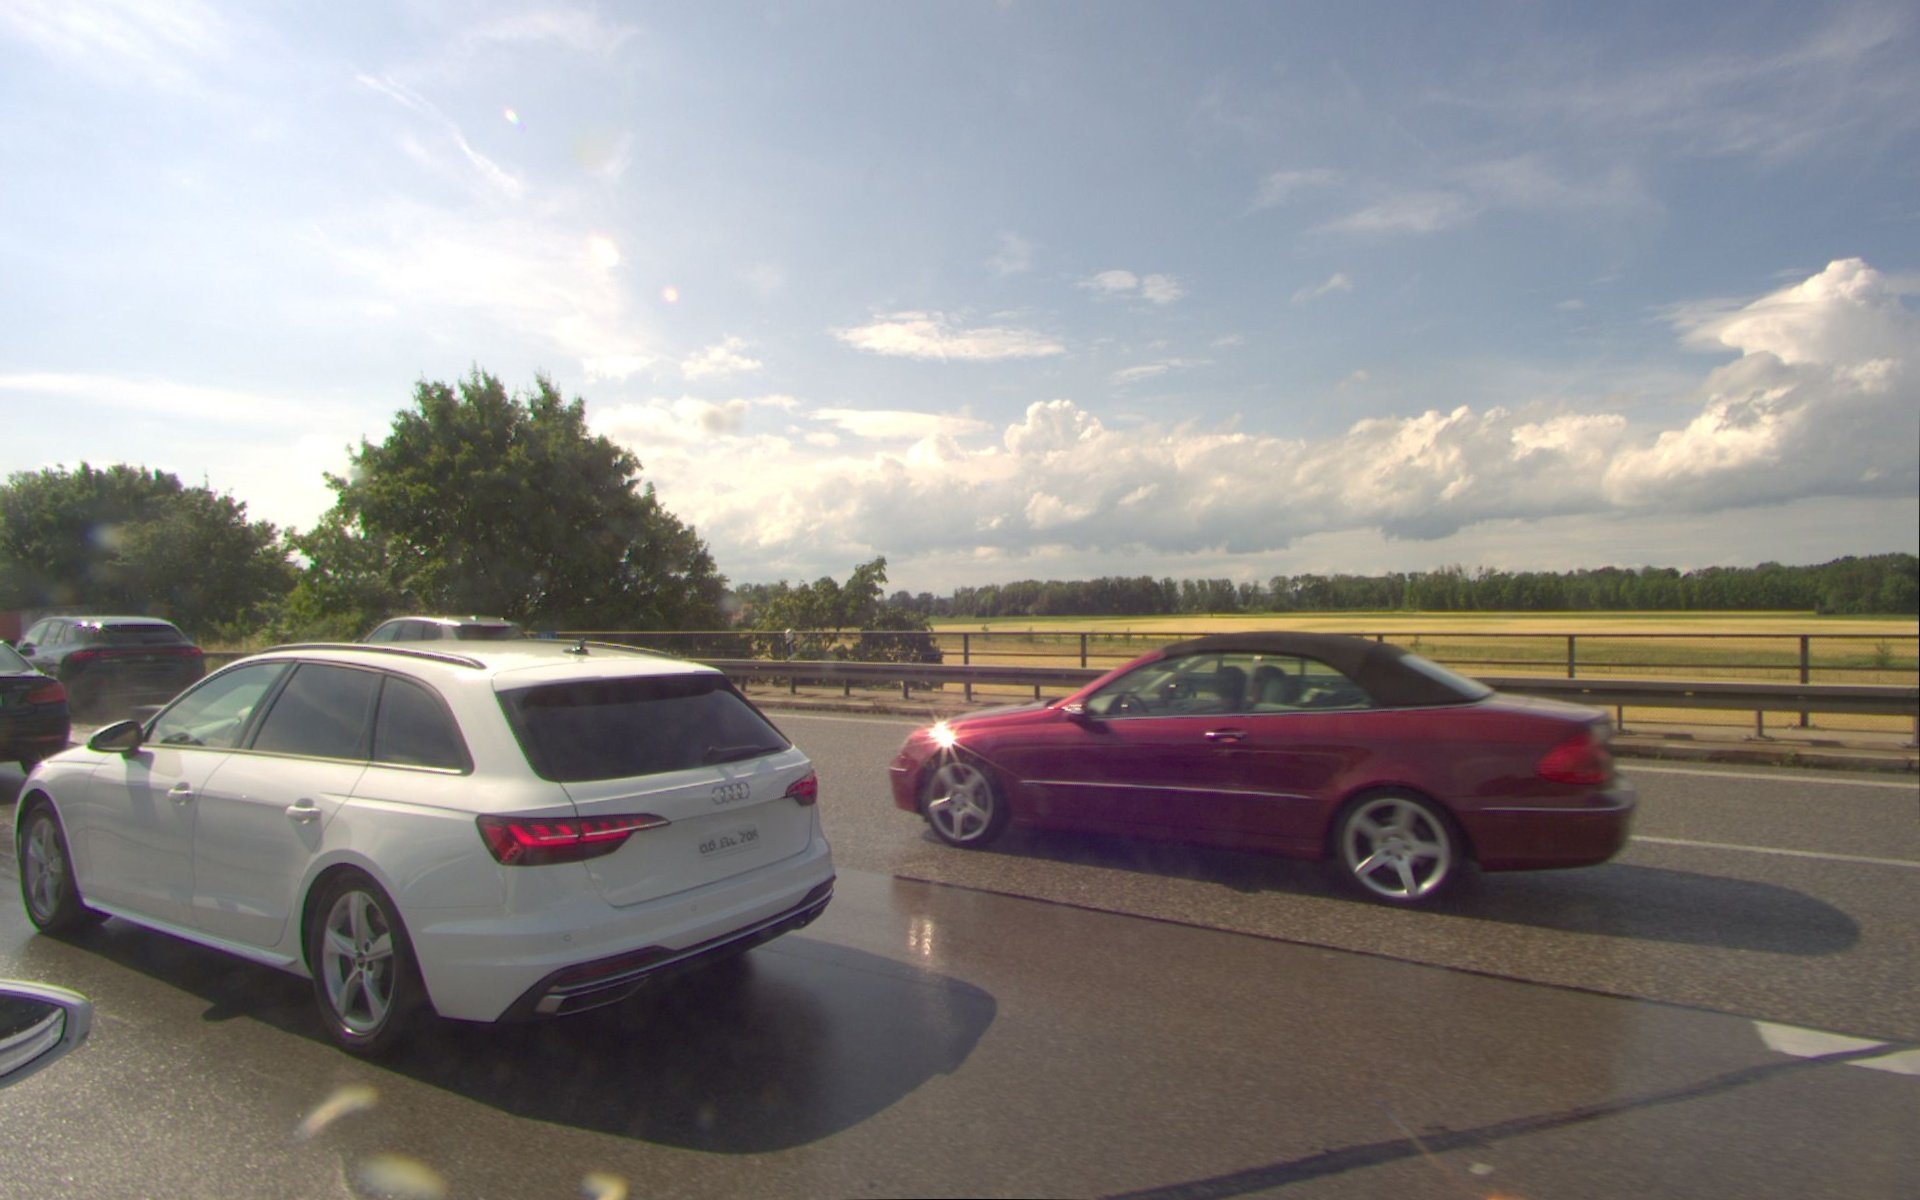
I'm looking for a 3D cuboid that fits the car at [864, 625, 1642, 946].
[{"bbox_3d":[1.659,0.877,6.436,4.448,1.428,1.748,-1,-1,33],"label":"car"}]

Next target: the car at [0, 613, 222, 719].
[{"bbox_3d":[-14.928,1.050,17.321,4.587,1.602,1.990,-1,-1,33],"label":"car"}]

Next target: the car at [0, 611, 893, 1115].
[{"bbox_3d":[-2.669,0.855,4.804,4.444,1.443,1.825,-2,-3,30],"label":"car"}]

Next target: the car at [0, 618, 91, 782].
[{"bbox_3d":[-10.658,0.956,10.061,4.196,1.483,1.844,-1,-1,33],"label":"car"}]

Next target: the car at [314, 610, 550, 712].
[{"bbox_3d":[-9.295,1.024,17.563,4.224,1.606,1.746,-1,-2,31],"label":"car"}]
